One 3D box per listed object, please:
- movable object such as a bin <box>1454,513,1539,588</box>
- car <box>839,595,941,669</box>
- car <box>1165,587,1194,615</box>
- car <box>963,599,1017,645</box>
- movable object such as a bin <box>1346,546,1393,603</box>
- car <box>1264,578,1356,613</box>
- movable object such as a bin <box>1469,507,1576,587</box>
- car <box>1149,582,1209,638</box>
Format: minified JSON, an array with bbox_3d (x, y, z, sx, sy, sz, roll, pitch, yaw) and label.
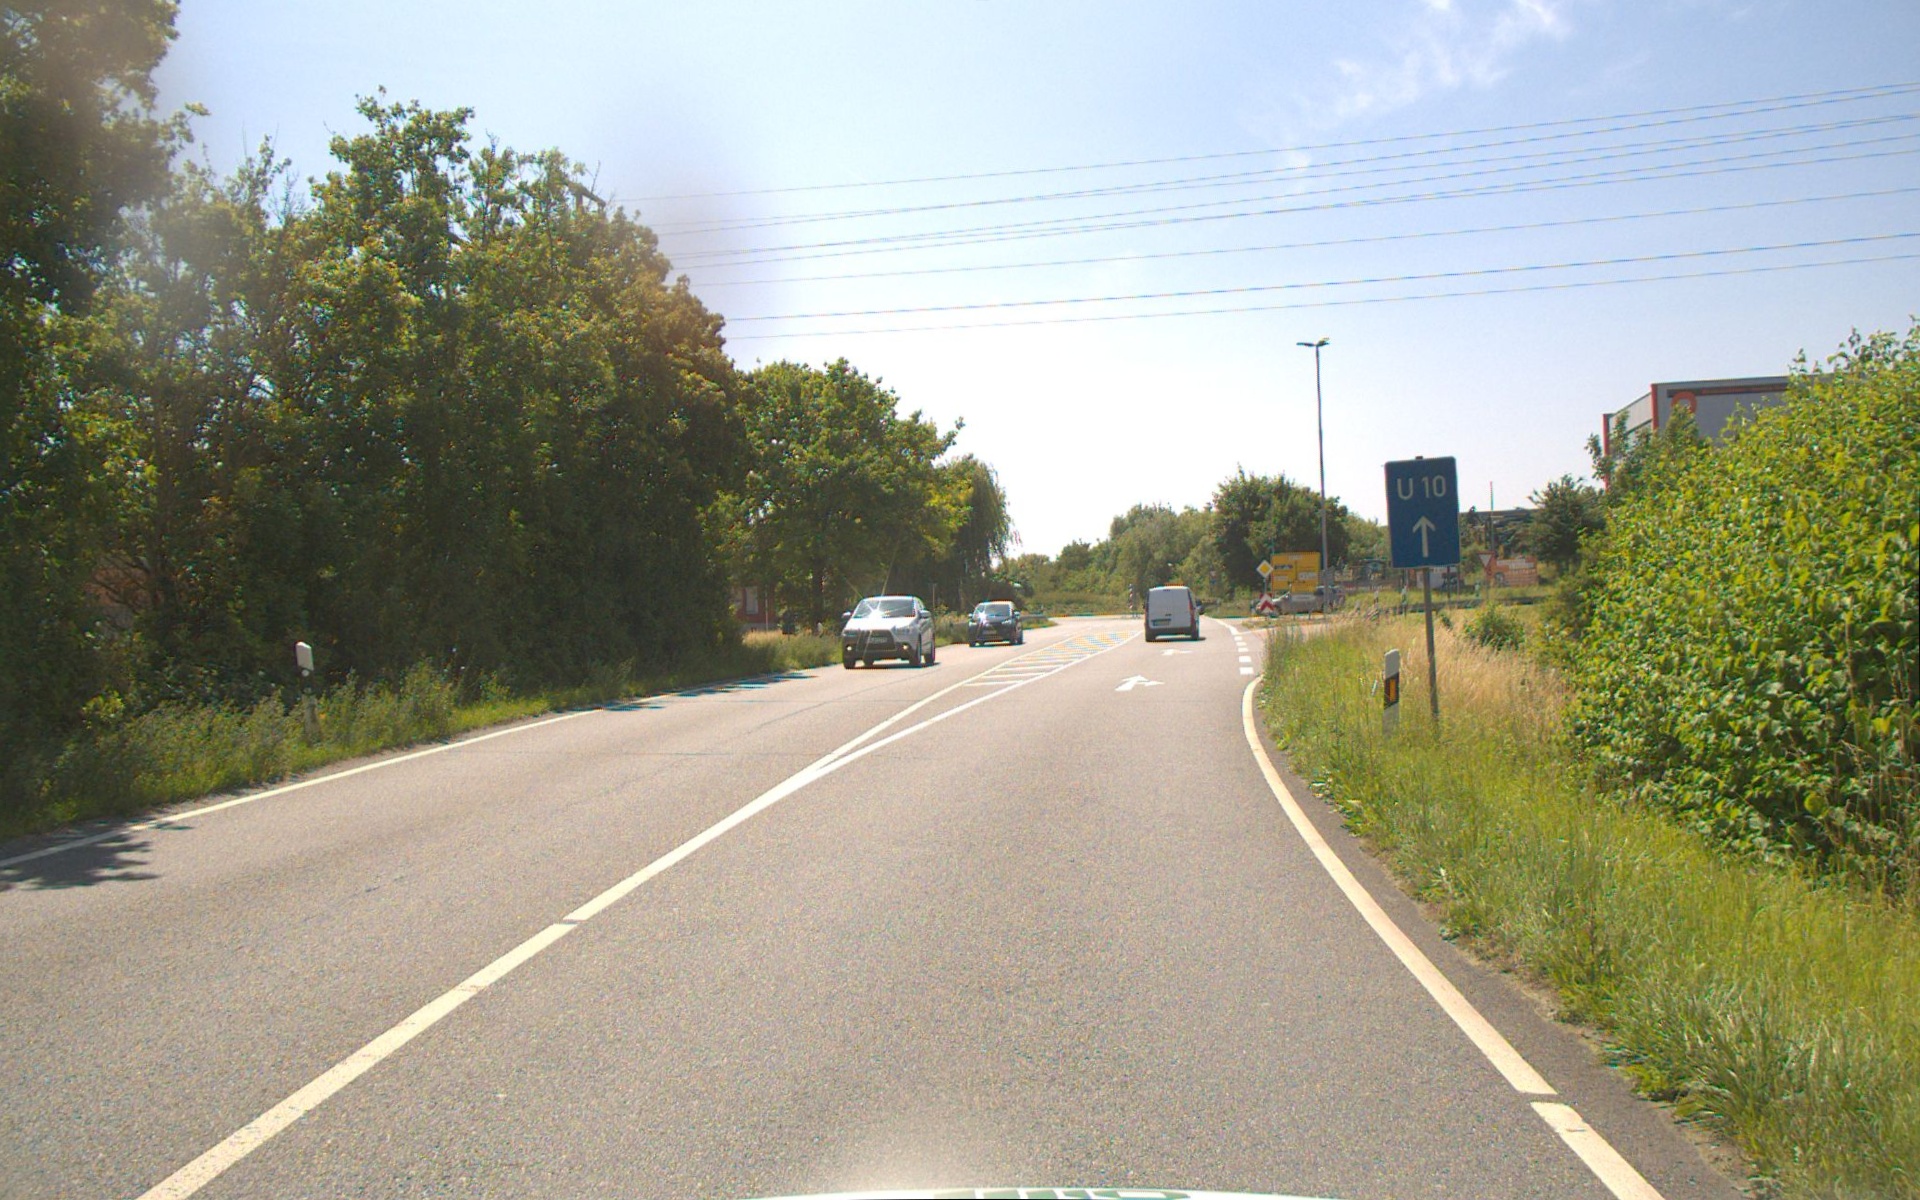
[{"bbox_3d":[40.190,-3.669,124.117,5.594,5.362,3.224,-1,-2,11],"label":"movable object such as a bin"},{"bbox_3d":[-1.558,0.697,38.525,1.704,1.617,4.533,0,0,6],"label":"car"},{"bbox_3d":[13.842,0.051,104.335,1.767,1.583,4.004,-2,1,7],"label":"car"},{"bbox_3d":[1.132,0.797,60.930,1.696,1.618,3.960,-1,0,5],"label":"car"},{"bbox_3d":[25.770,-1.557,104.255,2.273,3.307,5.105,-1,-2,8],"label":"movable object such as a bin"},{"bbox_3d":[17.903,-0.243,84.690,4.415,1.534,1.916,-3,0,8],"label":"car"},{"bbox_3d":[39.104,-3.647,115.212,6.450,5.238,3.809,-1,-2,11],"label":"movable object such as a bin"},{"bbox_3d":[7.385,0.344,55.966,1.863,1.763,3.825,-2,-1,6],"label":"car"}]
